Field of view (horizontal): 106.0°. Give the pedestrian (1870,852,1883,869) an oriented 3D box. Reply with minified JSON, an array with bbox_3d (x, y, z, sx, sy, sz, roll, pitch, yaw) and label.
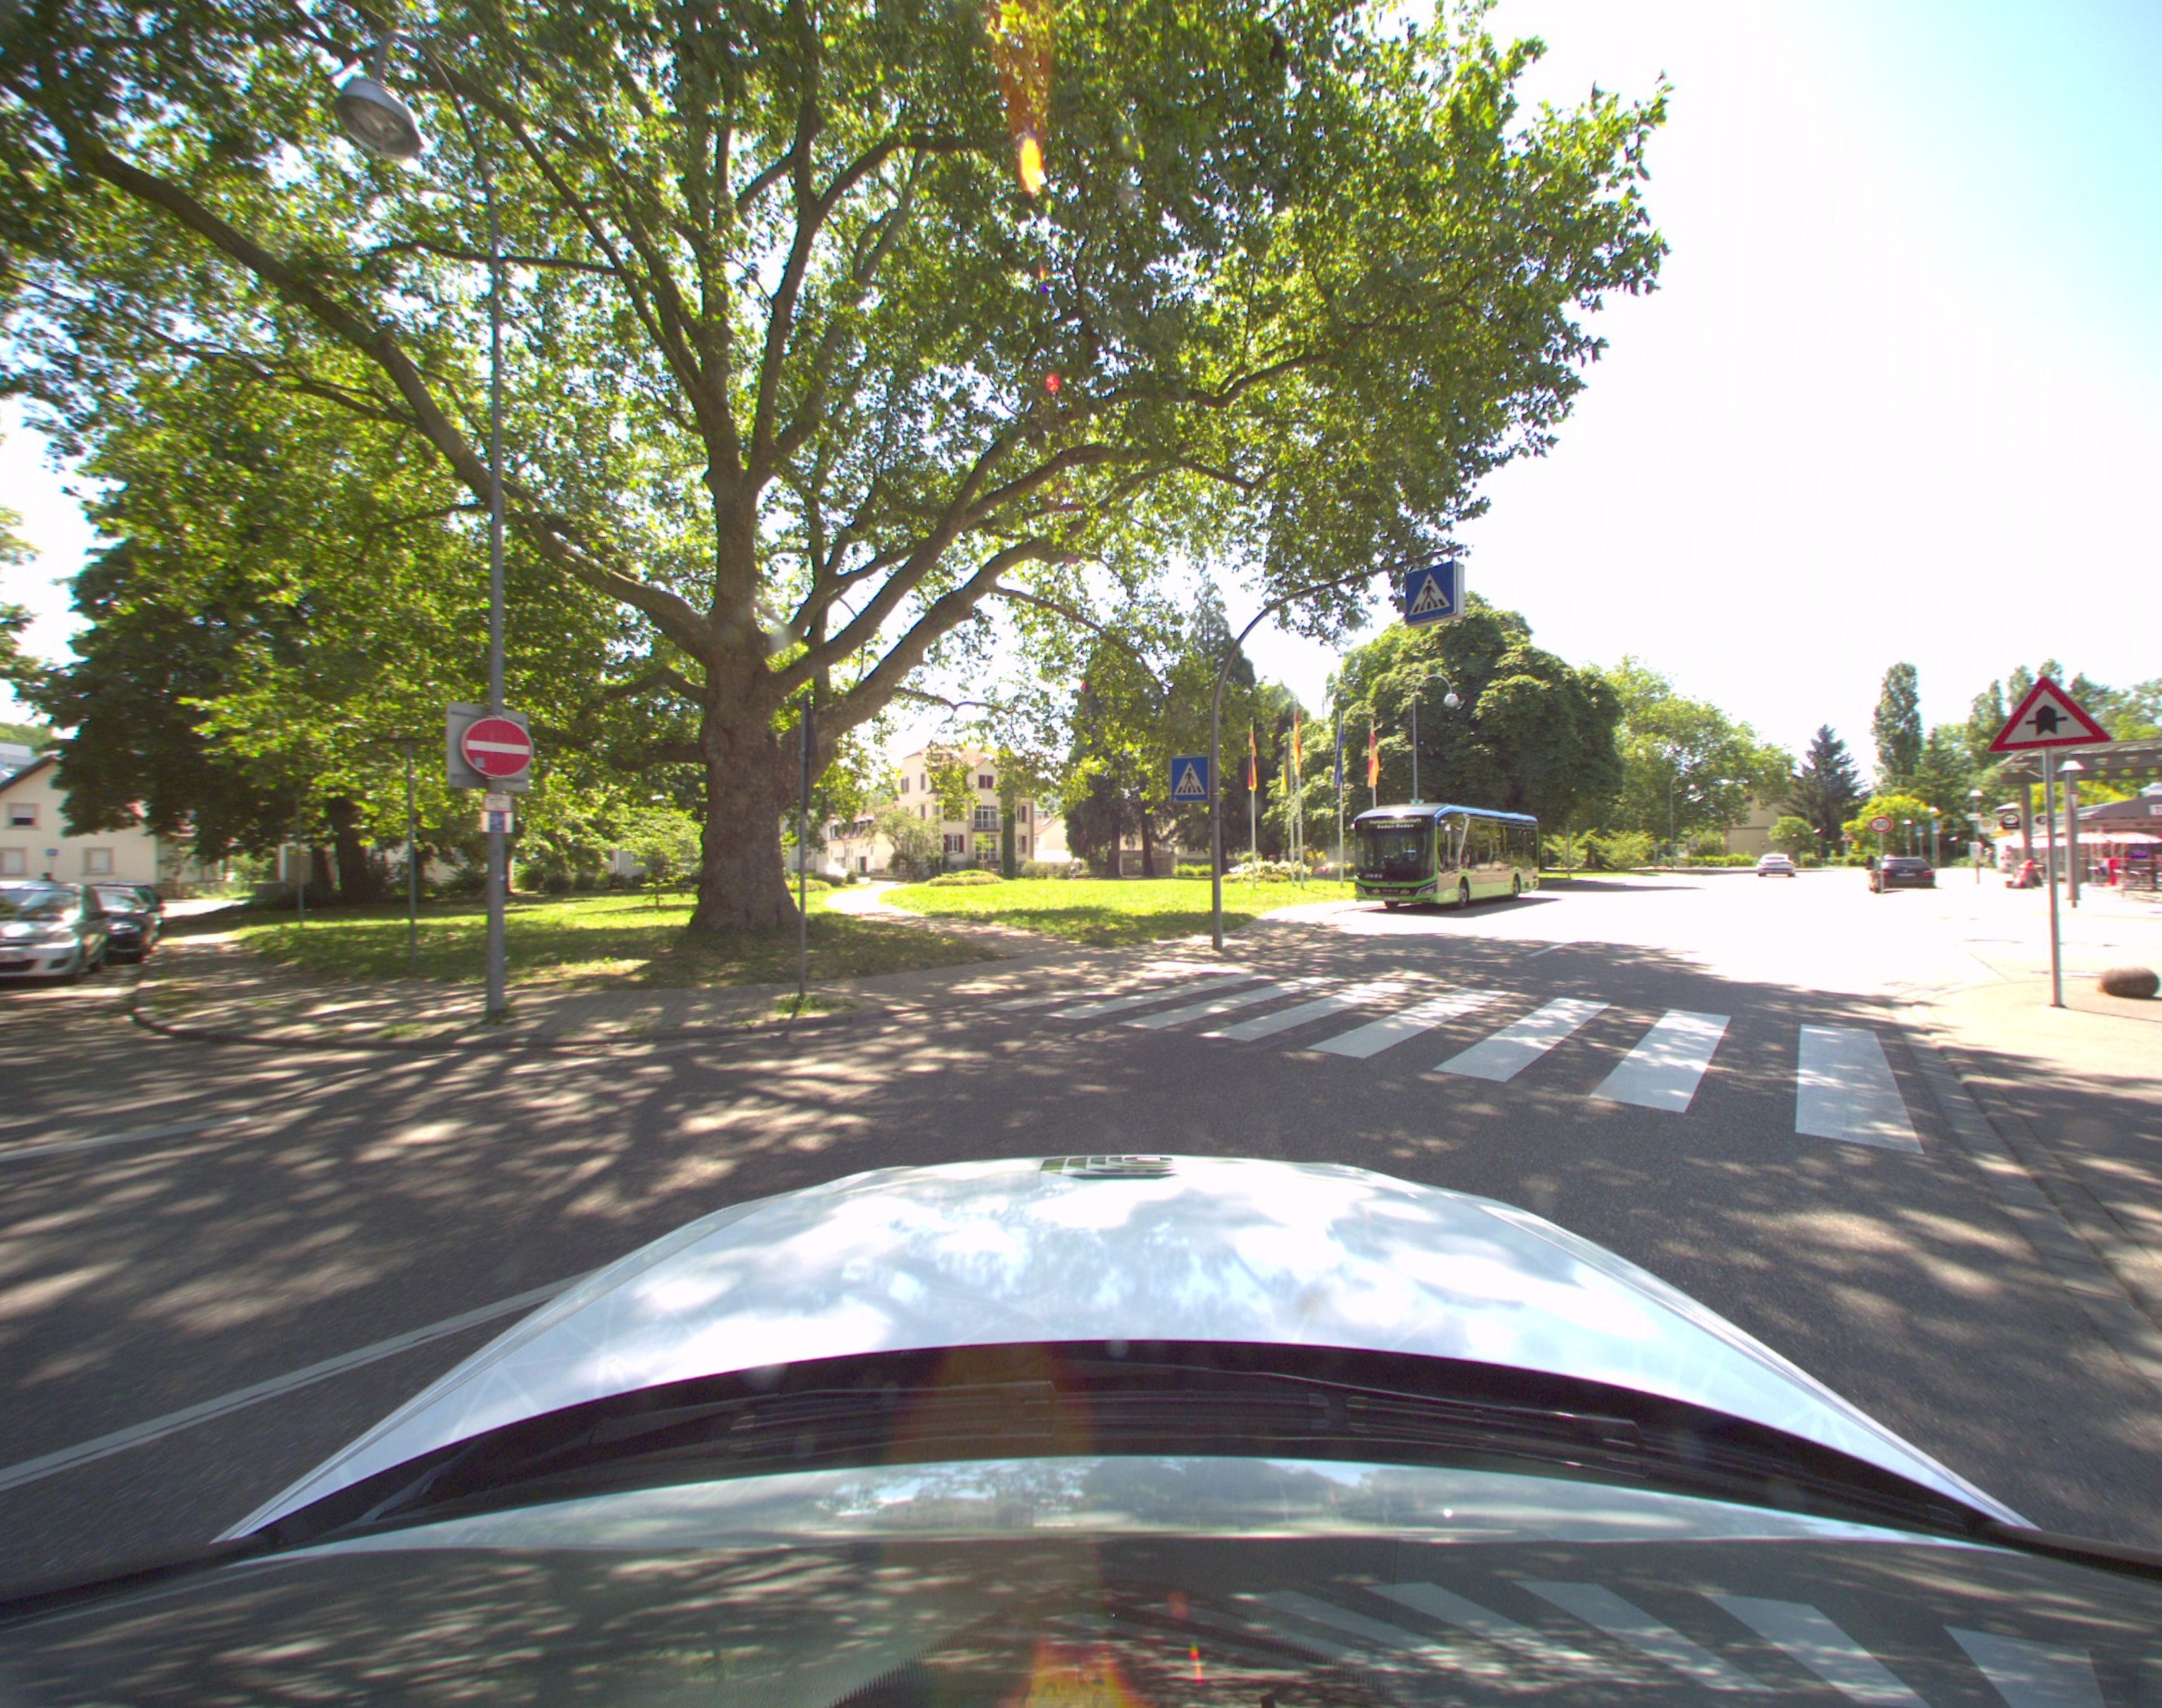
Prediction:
[{"bbox_3d":[74.665,0.614,76.460,0.751,1.649,0.633,2,-2,-19],"label":"pedestrian"}]

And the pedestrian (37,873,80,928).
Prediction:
[{"bbox_3d":[-34.228,1.536,27.274,0.726,1.802,0.929,0,-1,-42],"label":"pedestrian"}]

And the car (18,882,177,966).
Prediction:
[{"bbox_3d":[-19.733,1.305,16.510,4.446,1.439,1.766,-1,-2,43],"label":"car"}]

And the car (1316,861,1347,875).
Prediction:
[{"bbox_3d":[32.900,1.864,107.100,4.018,1.838,1.856,1,0,-37],"label":"car"}]

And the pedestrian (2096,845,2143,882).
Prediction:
[{"bbox_3d":[40.493,0.371,31.750,0.887,1.418,0.689,-1,-1,5],"label":"pedestrian"}]

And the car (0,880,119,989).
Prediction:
[{"bbox_3d":[-16.176,1.155,12.517,3.441,1.497,1.609,-1,-2,43],"label":"car"}]

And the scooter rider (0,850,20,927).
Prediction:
[{"bbox_3d":[-32.994,1.056,24.769,0.745,2.318,0.915,0,-1,-45],"label":"scooter rider"}]

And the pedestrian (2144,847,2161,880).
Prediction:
[{"bbox_3d":[42.626,0.361,31.949,0.887,1.312,0.690,-1,-1,8],"label":"pedestrian"}]

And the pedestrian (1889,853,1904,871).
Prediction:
[{"bbox_3d":[76.972,0.731,76.889,0.751,1.649,0.718,2,-2,-19],"label":"pedestrian"}]

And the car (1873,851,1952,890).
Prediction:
[{"bbox_3d":[34.780,0.690,34.177,1.908,1.460,4.754,-5,-3,42],"label":"car"}]

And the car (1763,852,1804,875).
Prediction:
[{"bbox_3d":[50.855,0.673,58.943,1.964,1.627,4.807,-2,-1,44],"label":"car"}]

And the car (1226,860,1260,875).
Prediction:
[{"bbox_3d":[19.564,1.637,98.238,4.018,1.751,1.856,1,0,-37],"label":"car"}]

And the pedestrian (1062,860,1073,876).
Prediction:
[{"bbox_3d":[-1.195,1.226,71.864,0.821,1.371,0.619,1,0,2],"label":"pedestrian"}]

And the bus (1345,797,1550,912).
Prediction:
[{"bbox_3d":[13.390,0.004,28.731,2.782,3.283,12.500,-1,-1,42],"label":"bus"}]

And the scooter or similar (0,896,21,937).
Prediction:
[{"bbox_3d":[-32.974,1.912,24.746,0.745,1.183,1.500,0,-1,-45],"label":"scooter or similar"}]
